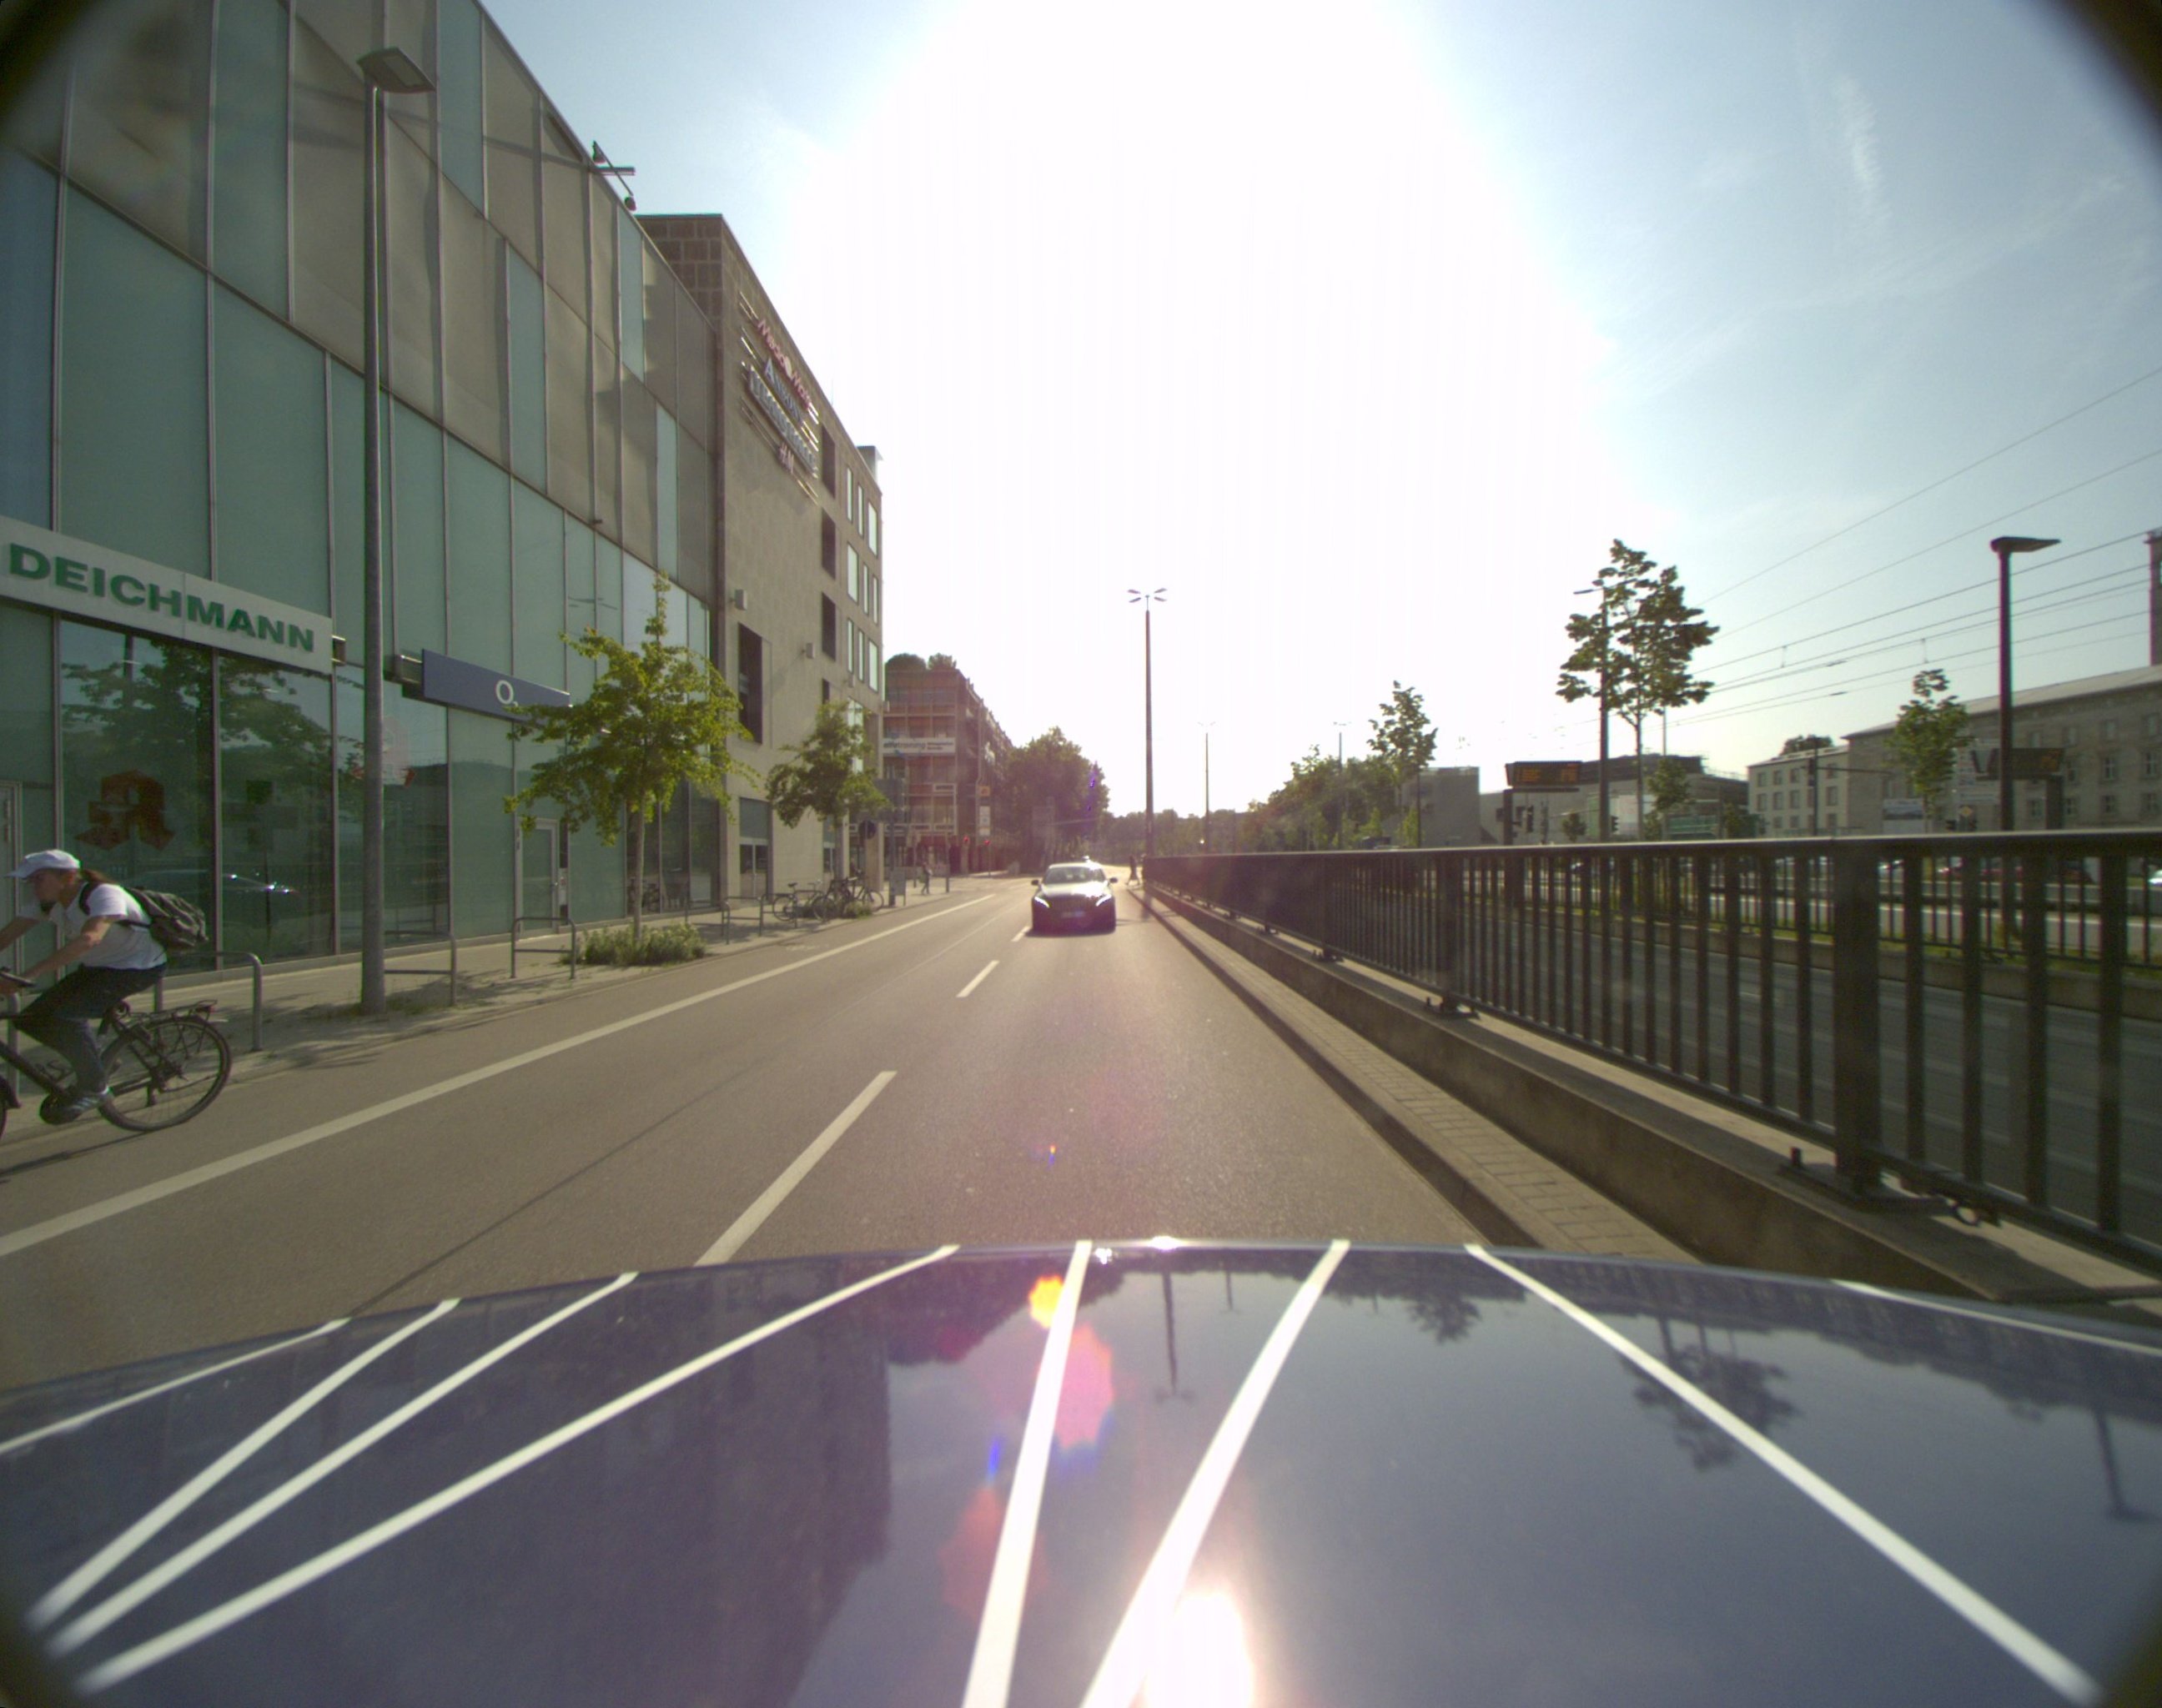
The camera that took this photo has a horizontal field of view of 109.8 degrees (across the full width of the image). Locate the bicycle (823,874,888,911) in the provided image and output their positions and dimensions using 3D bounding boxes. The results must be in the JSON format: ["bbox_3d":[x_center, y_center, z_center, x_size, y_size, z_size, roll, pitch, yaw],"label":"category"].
[{"bbox_3d":[-7.335,1.241,24.768,1.843,1.106,0.687,-2,0,3],"label":"bicycle"}]

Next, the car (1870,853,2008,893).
[{"bbox_3d":[33.765,0.707,30.036,1.600,1.455,3.434,-1,0,2],"label":"car"}]

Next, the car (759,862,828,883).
[{"bbox_3d":[-19.481,1.260,51.624,3.900,1.359,1.878,0,1,6],"label":"car"}]

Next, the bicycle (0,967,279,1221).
[{"bbox_3d":[-5.829,1.318,4.133,0.662,1.110,2.051,0,0,4],"label":"bicycle"}]

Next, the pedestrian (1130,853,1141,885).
[{"bbox_3d":[2.856,0.779,39.789,0.468,1.640,0.777,-1,0,1],"label":"pedestrian"}]

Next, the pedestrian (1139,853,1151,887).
[{"bbox_3d":[3.094,0.763,36.732,0.468,1.640,0.777,-1,0,1],"label":"pedestrian"}]

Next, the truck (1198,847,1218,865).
[{"bbox_3d":[28.095,0.493,168.165,2.979,3.786,10.424,-1,0,1],"label":"truck"}]

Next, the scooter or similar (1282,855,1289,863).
[{"bbox_3d":[30.452,0.756,113.111,0.540,1.140,1.383,-1,0,-4],"label":"scooter or similar"}]

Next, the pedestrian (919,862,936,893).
[{"bbox_3d":[-7.471,1.133,36.969,0.710,1.478,0.604,0,0,-5],"label":"pedestrian"}]

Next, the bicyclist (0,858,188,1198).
[{"bbox_3d":[-5.819,0.893,4.280,0.652,1.738,0.769,0,0,4],"label":"bicyclist"}]

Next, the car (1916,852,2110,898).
[{"bbox_3d":[30.186,0.650,24.802,1.725,1.353,3.697,-1,0,-3],"label":"car"}]

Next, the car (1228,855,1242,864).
[{"bbox_3d":[28.119,0.953,138.722,1.644,1.592,3.999,-1,0,-2],"label":"car"}]

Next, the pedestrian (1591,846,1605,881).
[{"bbox_3d":[24.850,0.458,36.535,0.371,1.666,0.641,0,0,18],"label":"pedestrian"}]

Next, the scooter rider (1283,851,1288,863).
[{"bbox_3d":[30.448,0.431,113.324,0.538,1.688,0.549,-1,0,-4],"label":"scooter rider"}]

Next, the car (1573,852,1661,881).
[{"bbox_3d":[31.871,0.710,45.399,1.797,1.572,4.614,-1,0,-4],"label":"car"}]

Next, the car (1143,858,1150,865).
[{"bbox_3d":[21.833,2.432,252.730,1.998,2.002,4.000,-2,0,1],"label":"car"}]

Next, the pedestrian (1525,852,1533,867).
[{"bbox_3d":[51.049,0.662,86.556,0.606,1.687,0.538,0,0,6],"label":"pedestrian"}]

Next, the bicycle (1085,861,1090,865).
[{"bbox_3d":[1.038,1.480,122.557,0.630,0.702,1.808,-1,0,-8],"label":"bicycle"}]

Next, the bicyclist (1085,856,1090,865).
[{"bbox_3d":[1.019,1.073,122.732,0.612,1.504,0.813,-1,0,-8],"label":"bicyclist"}]

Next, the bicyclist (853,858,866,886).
[{"bbox_3d":[-13.841,1.127,47.494,0.636,1.727,0.582,0,0,2],"label":"bicyclist"}]

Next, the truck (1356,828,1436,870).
[{"bbox_3d":[28.609,-0.387,69.576,3.030,3.565,8.887,0,0,-4],"label":"truck"}]

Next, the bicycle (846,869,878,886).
[{"bbox_3d":[-13.700,1.450,47.491,1.806,1.011,0.612,0,0,1],"label":"bicycle"}]

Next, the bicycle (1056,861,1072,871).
[{"bbox_3d":[-2.057,1.432,91.932,1.831,1.181,0.537,1,0,7],"label":"bicycle"}]

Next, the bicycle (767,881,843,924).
[{"bbox_3d":[-7.459,1.308,20.592,1.882,1.103,0.490,-1,0,3],"label":"bicycle"}]

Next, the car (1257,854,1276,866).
[{"bbox_3d":[28.016,0.919,114.706,1.620,1.778,4.517,-1,0,-3],"label":"car"}]

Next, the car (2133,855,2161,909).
[{"bbox_3d":[29.660,0.731,18.632,1.647,1.461,4.403,0,0,0],"label":"car"}]

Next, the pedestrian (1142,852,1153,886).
[{"bbox_3d":[3.314,0.739,37.750,0.468,1.640,0.777,-1,0,1],"label":"pedestrian"}]

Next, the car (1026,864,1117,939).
[{"bbox_3d":[-0.081,1.005,17.980,1.716,1.429,5.058,-1,0,4],"label":"car"}]
